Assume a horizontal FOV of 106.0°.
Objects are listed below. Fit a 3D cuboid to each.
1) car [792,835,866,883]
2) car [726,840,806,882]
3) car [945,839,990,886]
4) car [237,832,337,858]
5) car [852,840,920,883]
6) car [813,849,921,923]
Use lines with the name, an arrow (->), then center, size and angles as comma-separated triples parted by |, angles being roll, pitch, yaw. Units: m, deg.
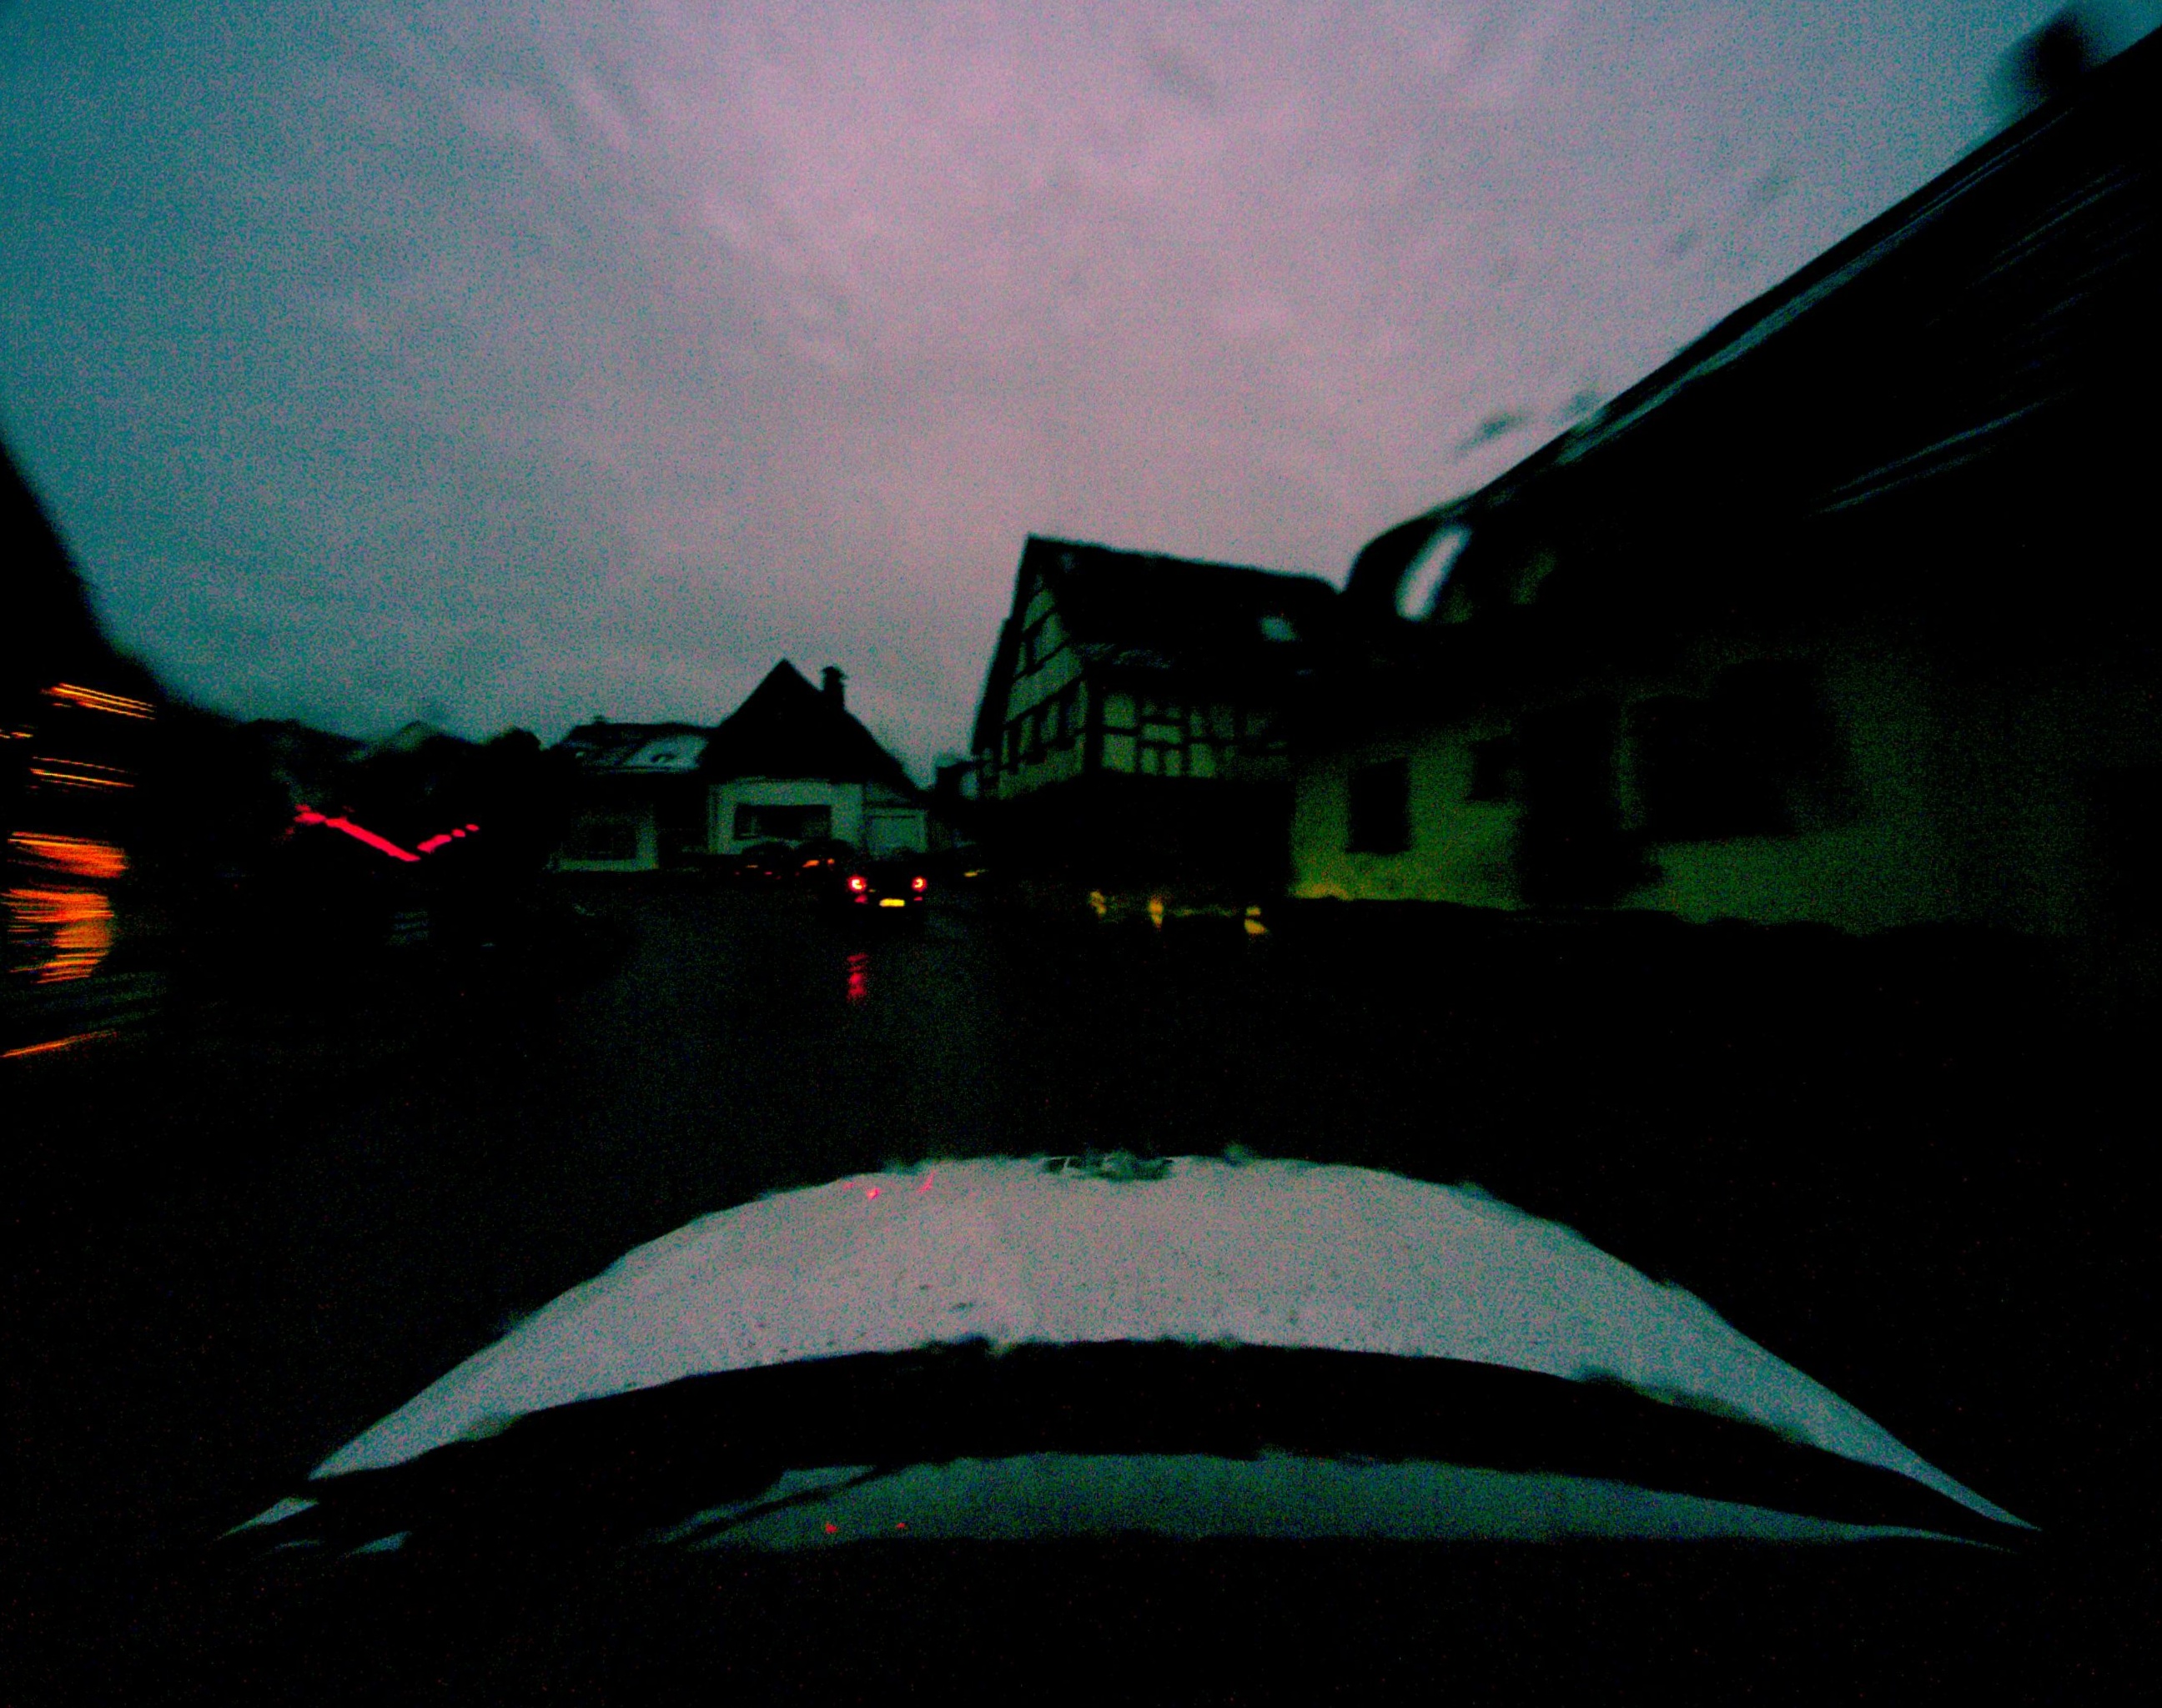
car -> -10.430, 0.152, 34.071 | 1.845, 1.660, 4.473 | -1, 4, -3
car -> -13.189, 0.260, 34.327 | 1.877, 1.449, 3.893 | -1, 4, -2
car -> -4.420, 0.270, 31.636 | 1.592, 1.515, 3.974 | -2, 4, -8
car -> -53.390, -0.595, 54.844 | 4.536, 1.628, 1.809 | 1, 1, -10
car -> -7.831, 0.241, 33.072 | 1.804, 1.420, 4.037 | -1, 4, -2
car -> -4.845, 0.645, 18.125 | 1.554, 1.466, 3.666 | 2, -1, -27
